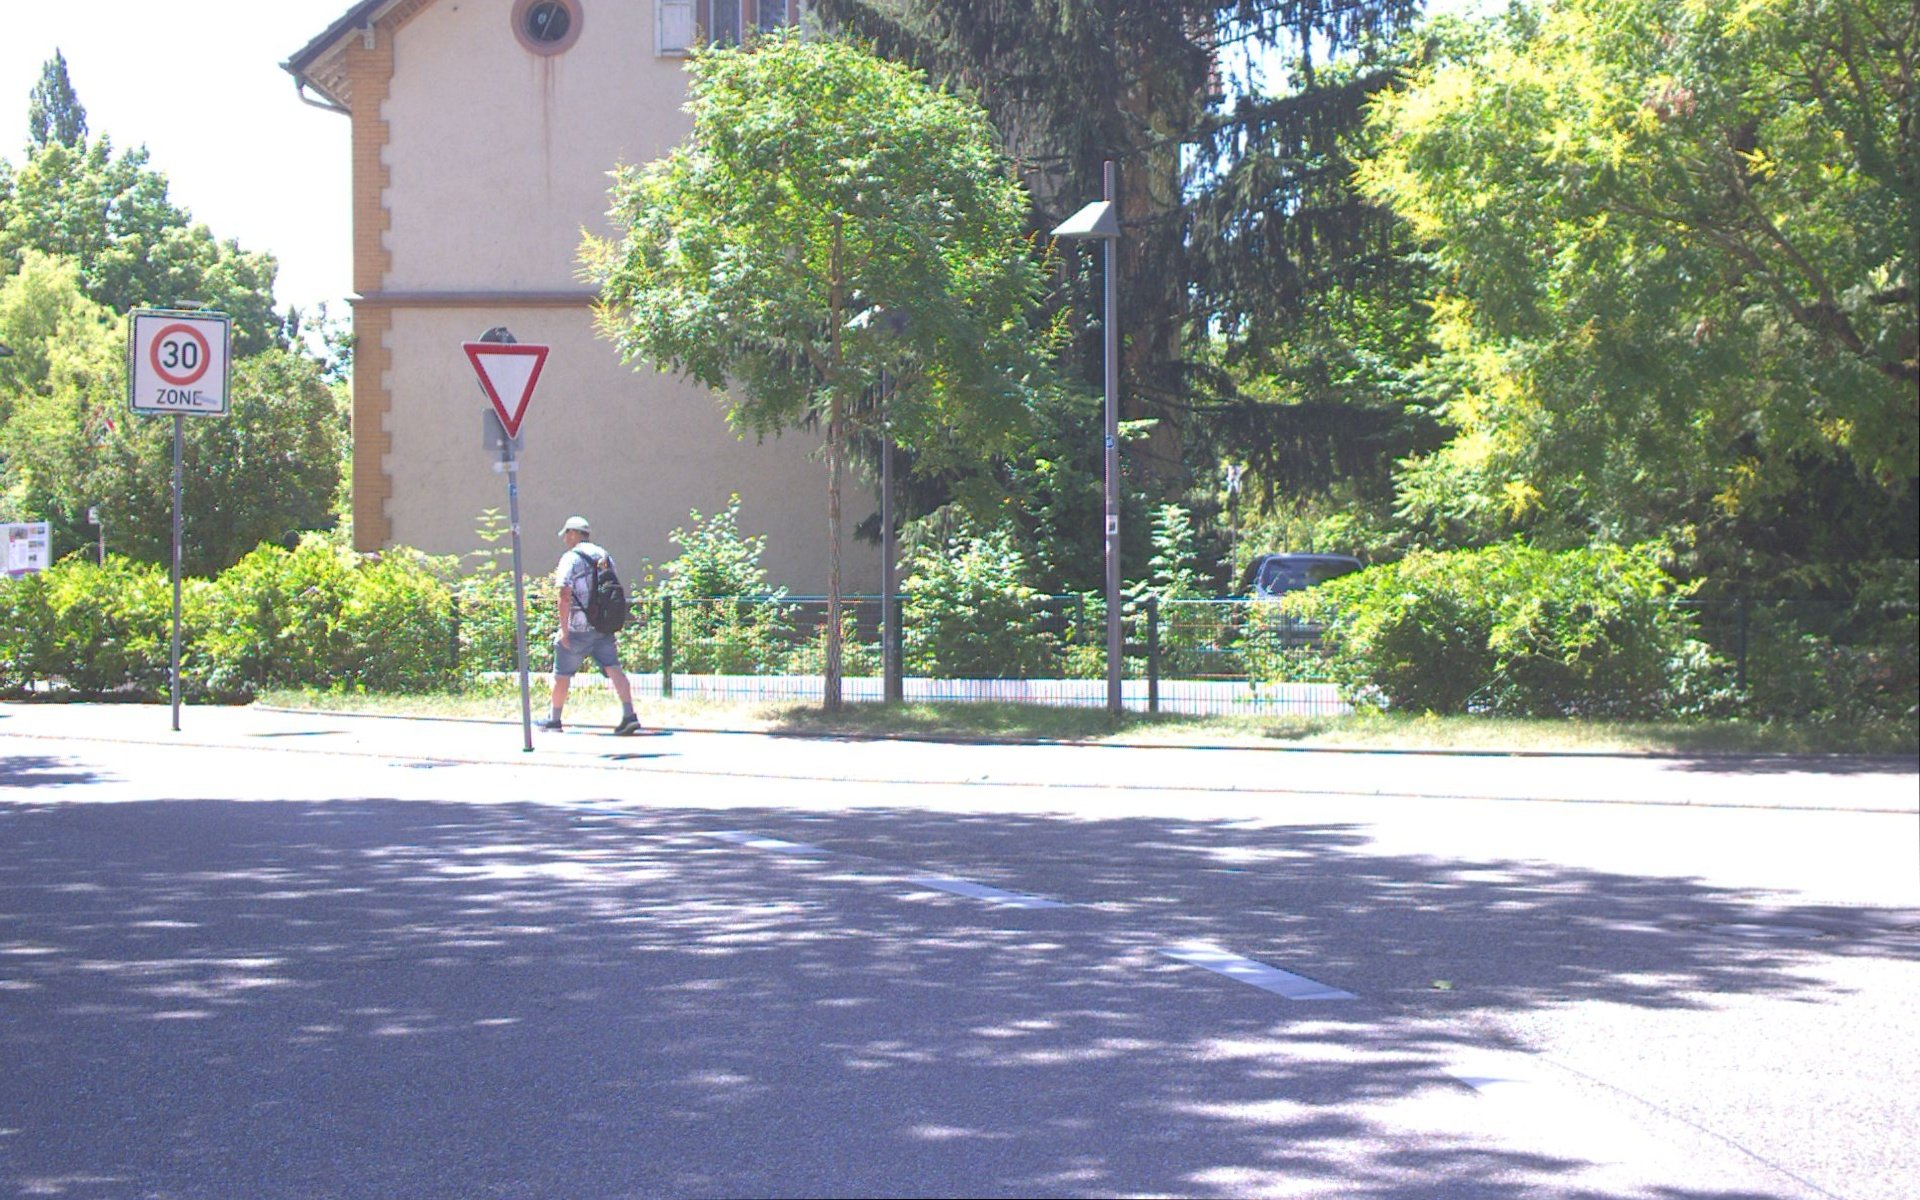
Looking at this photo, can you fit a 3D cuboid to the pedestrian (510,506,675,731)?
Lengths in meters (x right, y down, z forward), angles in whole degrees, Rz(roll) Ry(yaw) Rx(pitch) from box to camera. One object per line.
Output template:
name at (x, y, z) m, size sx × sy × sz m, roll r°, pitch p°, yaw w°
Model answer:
pedestrian at (-3.017, 0.136, 28.224) m, size 0.912 × 1.765 × 0.915 m, roll -5°, pitch 3°, yaw -39°

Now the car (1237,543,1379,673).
car at (4.239, 0.076, 42.273) m, size 1.650 × 1.531 × 3.969 m, roll 0°, pitch 1°, yaw 5°
